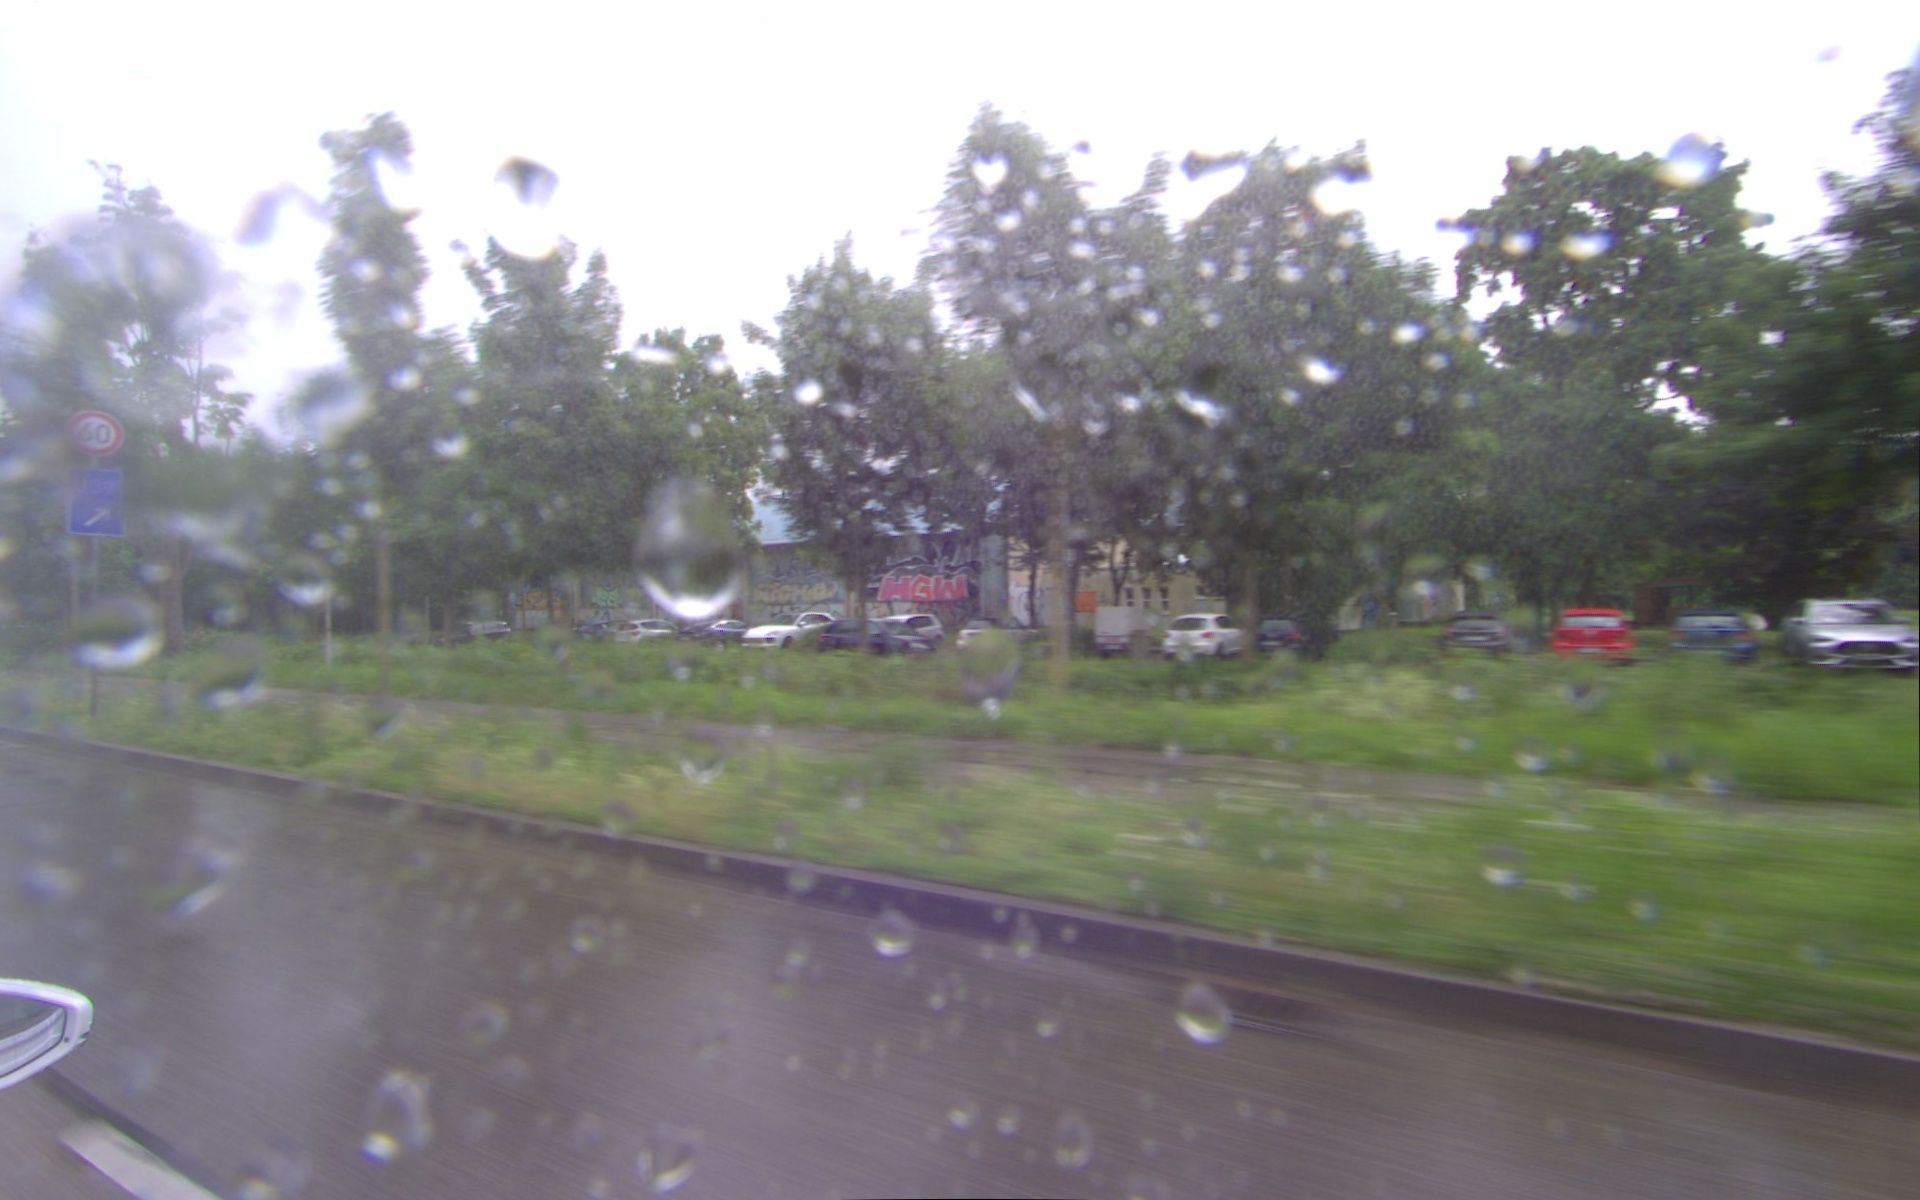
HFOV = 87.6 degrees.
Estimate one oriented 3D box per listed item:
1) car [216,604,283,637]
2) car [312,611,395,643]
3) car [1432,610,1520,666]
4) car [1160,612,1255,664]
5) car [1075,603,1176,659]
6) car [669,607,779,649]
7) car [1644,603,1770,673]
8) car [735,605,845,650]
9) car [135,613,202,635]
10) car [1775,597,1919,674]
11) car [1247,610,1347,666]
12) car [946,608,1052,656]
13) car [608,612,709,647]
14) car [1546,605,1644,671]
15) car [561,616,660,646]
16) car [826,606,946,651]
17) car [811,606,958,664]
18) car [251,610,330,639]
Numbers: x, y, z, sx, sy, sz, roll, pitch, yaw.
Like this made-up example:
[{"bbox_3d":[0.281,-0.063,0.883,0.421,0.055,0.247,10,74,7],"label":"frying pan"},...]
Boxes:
[{"bbox_3d":[-52.176,1.560,73.607,1.567,2.353,3.713,-1,-3,34],"label":"car"},{"bbox_3d":[-37.063,1.685,61.278,1.871,1.843,3.946,-1,-3,34],"label":"car"},{"bbox_3d":[13.737,1.025,26.533,1.840,1.357,4.175,-1,-3,31],"label":"car"},{"bbox_3d":[7.681,1.187,30.798,1.735,1.502,4.185,-1,-3,31],"label":"car"},{"bbox_3d":[5.593,1.072,33.427,1.917,1.746,4.330,-1,-3,31],"label":"car"},{"bbox_3d":[-9.871,1.223,42.269,1.969,1.665,4.568,-1,-3,29],"label":"car"},{"bbox_3d":[17.703,0.927,23.932,1.917,1.502,4.330,-1,-3,31],"label":"car"},{"bbox_3d":[-6.823,1.167,40.722,1.970,1.727,4.565,-1,-3,30],"label":"car"},{"bbox_3d":[-64.033,1.965,81.088,1.785,1.660,3.972,-1,-3,39],"label":"car"},{"bbox_3d":[19.502,0.799,21.947,1.896,1.522,4.330,-1,-3,31],"label":"car"},{"bbox_3d":[9.821,1.117,29.018,1.765,1.478,4.123,-1,-3,33],"label":"car"},{"bbox_3d":[1.449,1.155,35.346,1.917,1.577,4.330,-1,-3,31],"label":"car"},{"bbox_3d":[-14.035,1.408,46.896,1.835,1.566,4.568,-1,-3,29],"label":"car"},{"bbox_3d":[15.944,0.981,25.325,1.917,1.502,4.330,-1,-3,31],"label":"car"},{"bbox_3d":[-16.517,1.495,47.558,1.810,1.351,4.396,-1,-3,29],"label":"car"},{"bbox_3d":[-2.670,1.102,37.132,1.921,1.577,4.555,-1,-3,37],"label":"car"},{"bbox_3d":[-2.188,0.939,28.565,4.067,1.465,1.738,1,1,37],"label":"car"},{"bbox_3d":[-44.563,1.668,66.689,1.871,1.843,3.946,-1,-3,34],"label":"car"}]
